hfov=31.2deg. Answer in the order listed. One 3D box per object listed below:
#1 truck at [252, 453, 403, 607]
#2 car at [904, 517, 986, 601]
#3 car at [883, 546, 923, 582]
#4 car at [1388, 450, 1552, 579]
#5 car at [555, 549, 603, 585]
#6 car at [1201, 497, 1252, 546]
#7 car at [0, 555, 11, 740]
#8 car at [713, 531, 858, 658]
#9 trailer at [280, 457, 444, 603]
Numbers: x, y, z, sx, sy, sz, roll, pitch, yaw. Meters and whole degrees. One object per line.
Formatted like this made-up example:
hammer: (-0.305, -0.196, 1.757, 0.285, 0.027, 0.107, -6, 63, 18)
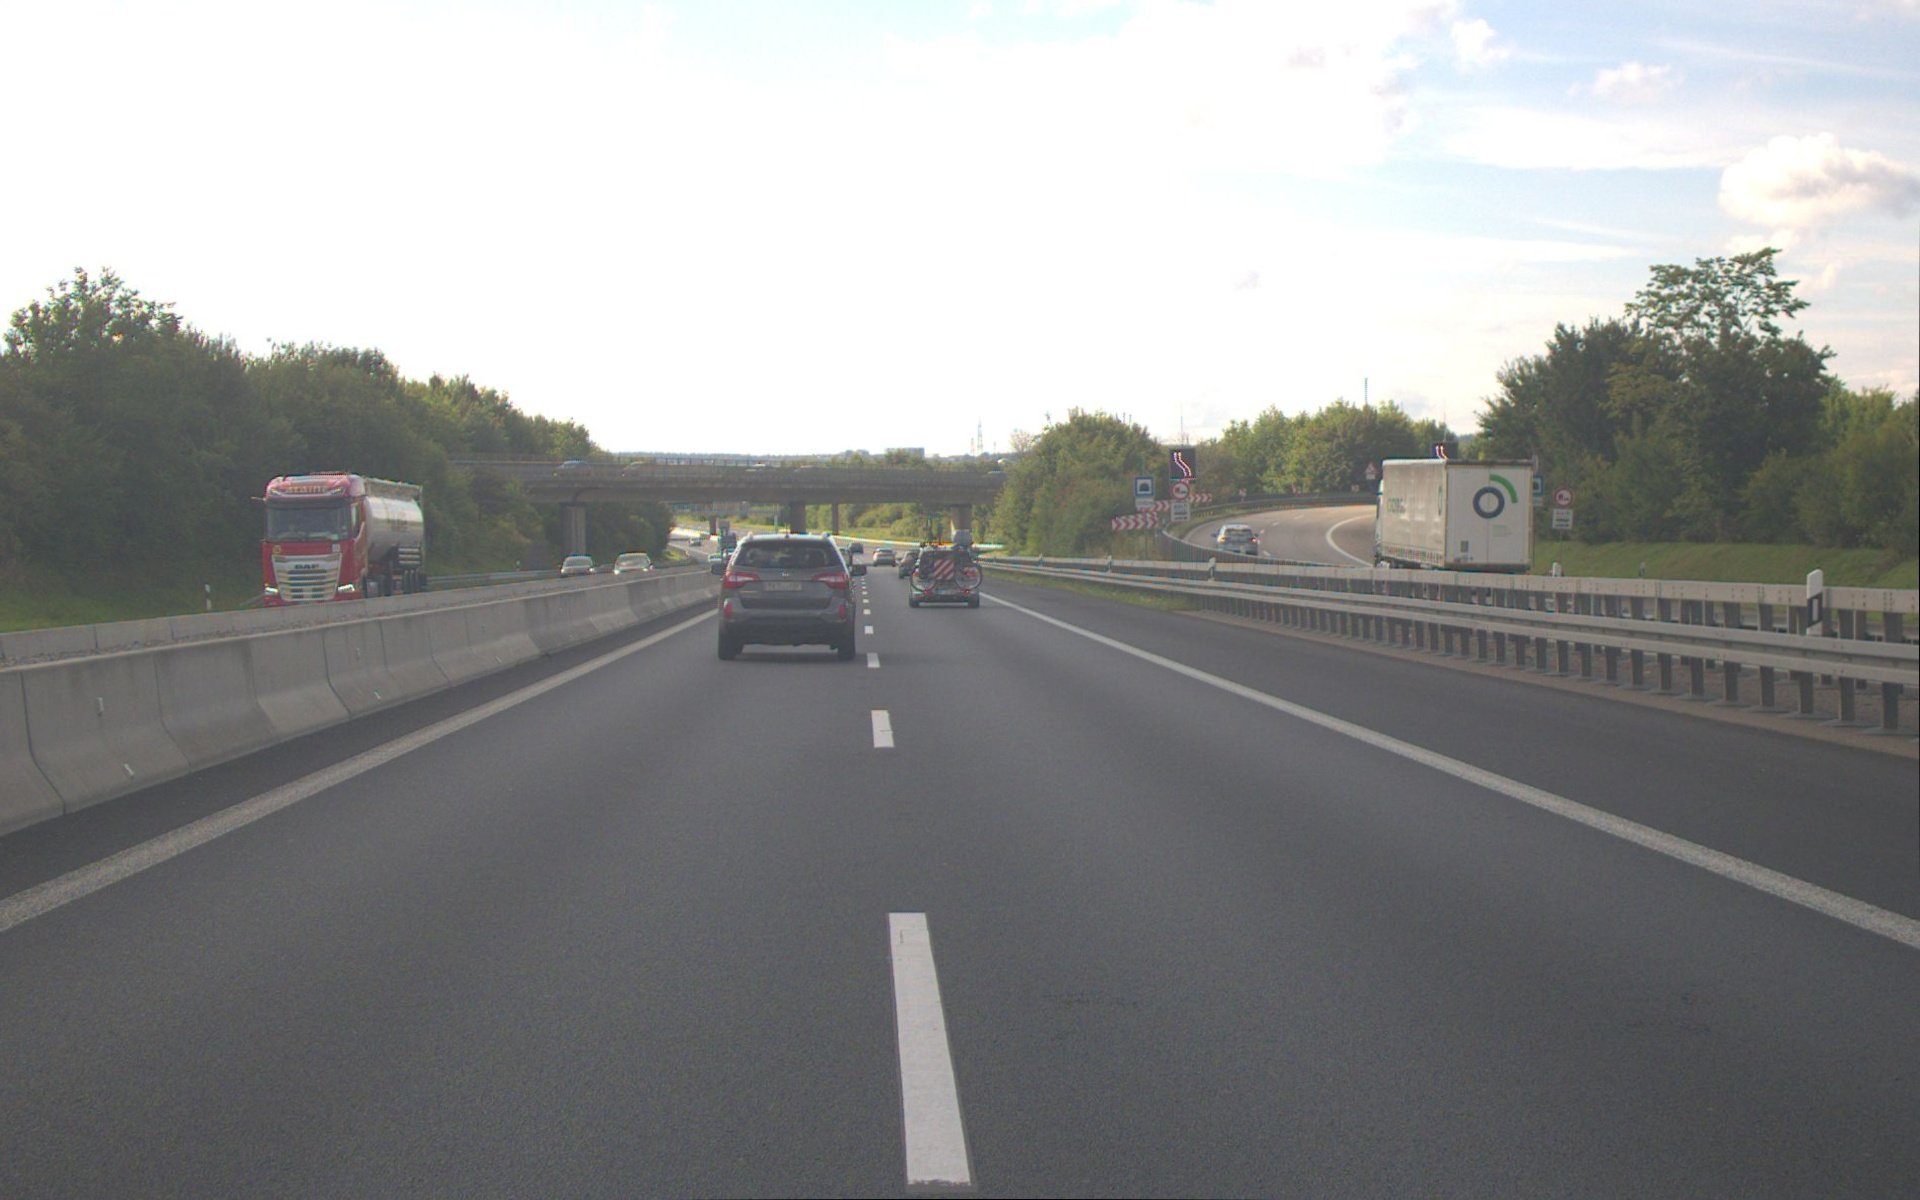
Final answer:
truck: (-17.003, -1.874, 92.874, 2.737, 3.911, 6.901, -2, 1, 0)
car: (-0.417, -1.065, 88.920, 1.993, 2.073, 4.000, -2, 1, -1)
car: (-2.959, -1.881, 177.651, 1.975, 1.773, 4.120, -2, 1, -2)
car: (15.327, -2.549, 103.873, 3.576, 3.664, 7.549, -2, 1, -1)
car: (-18.770, -1.652, 169.539, 1.993, 1.711, 4.000, -2, 1, -1)
car: (11.400, -3.340, 147.365, 1.994, 2.007, 4.000, -2, 1, 3)
car: (-11.380, 0.557, 35.328, 1.993, 2.007, 4.678, -1, 1, -1)
car: (-2.358, -0.102, 47.202, 1.750, 1.624, 3.609, -2, 1, 0)
trailer: (-17.059, -1.980, 98.836, 2.713, 3.873, 11.161, -2, 1, 0)
